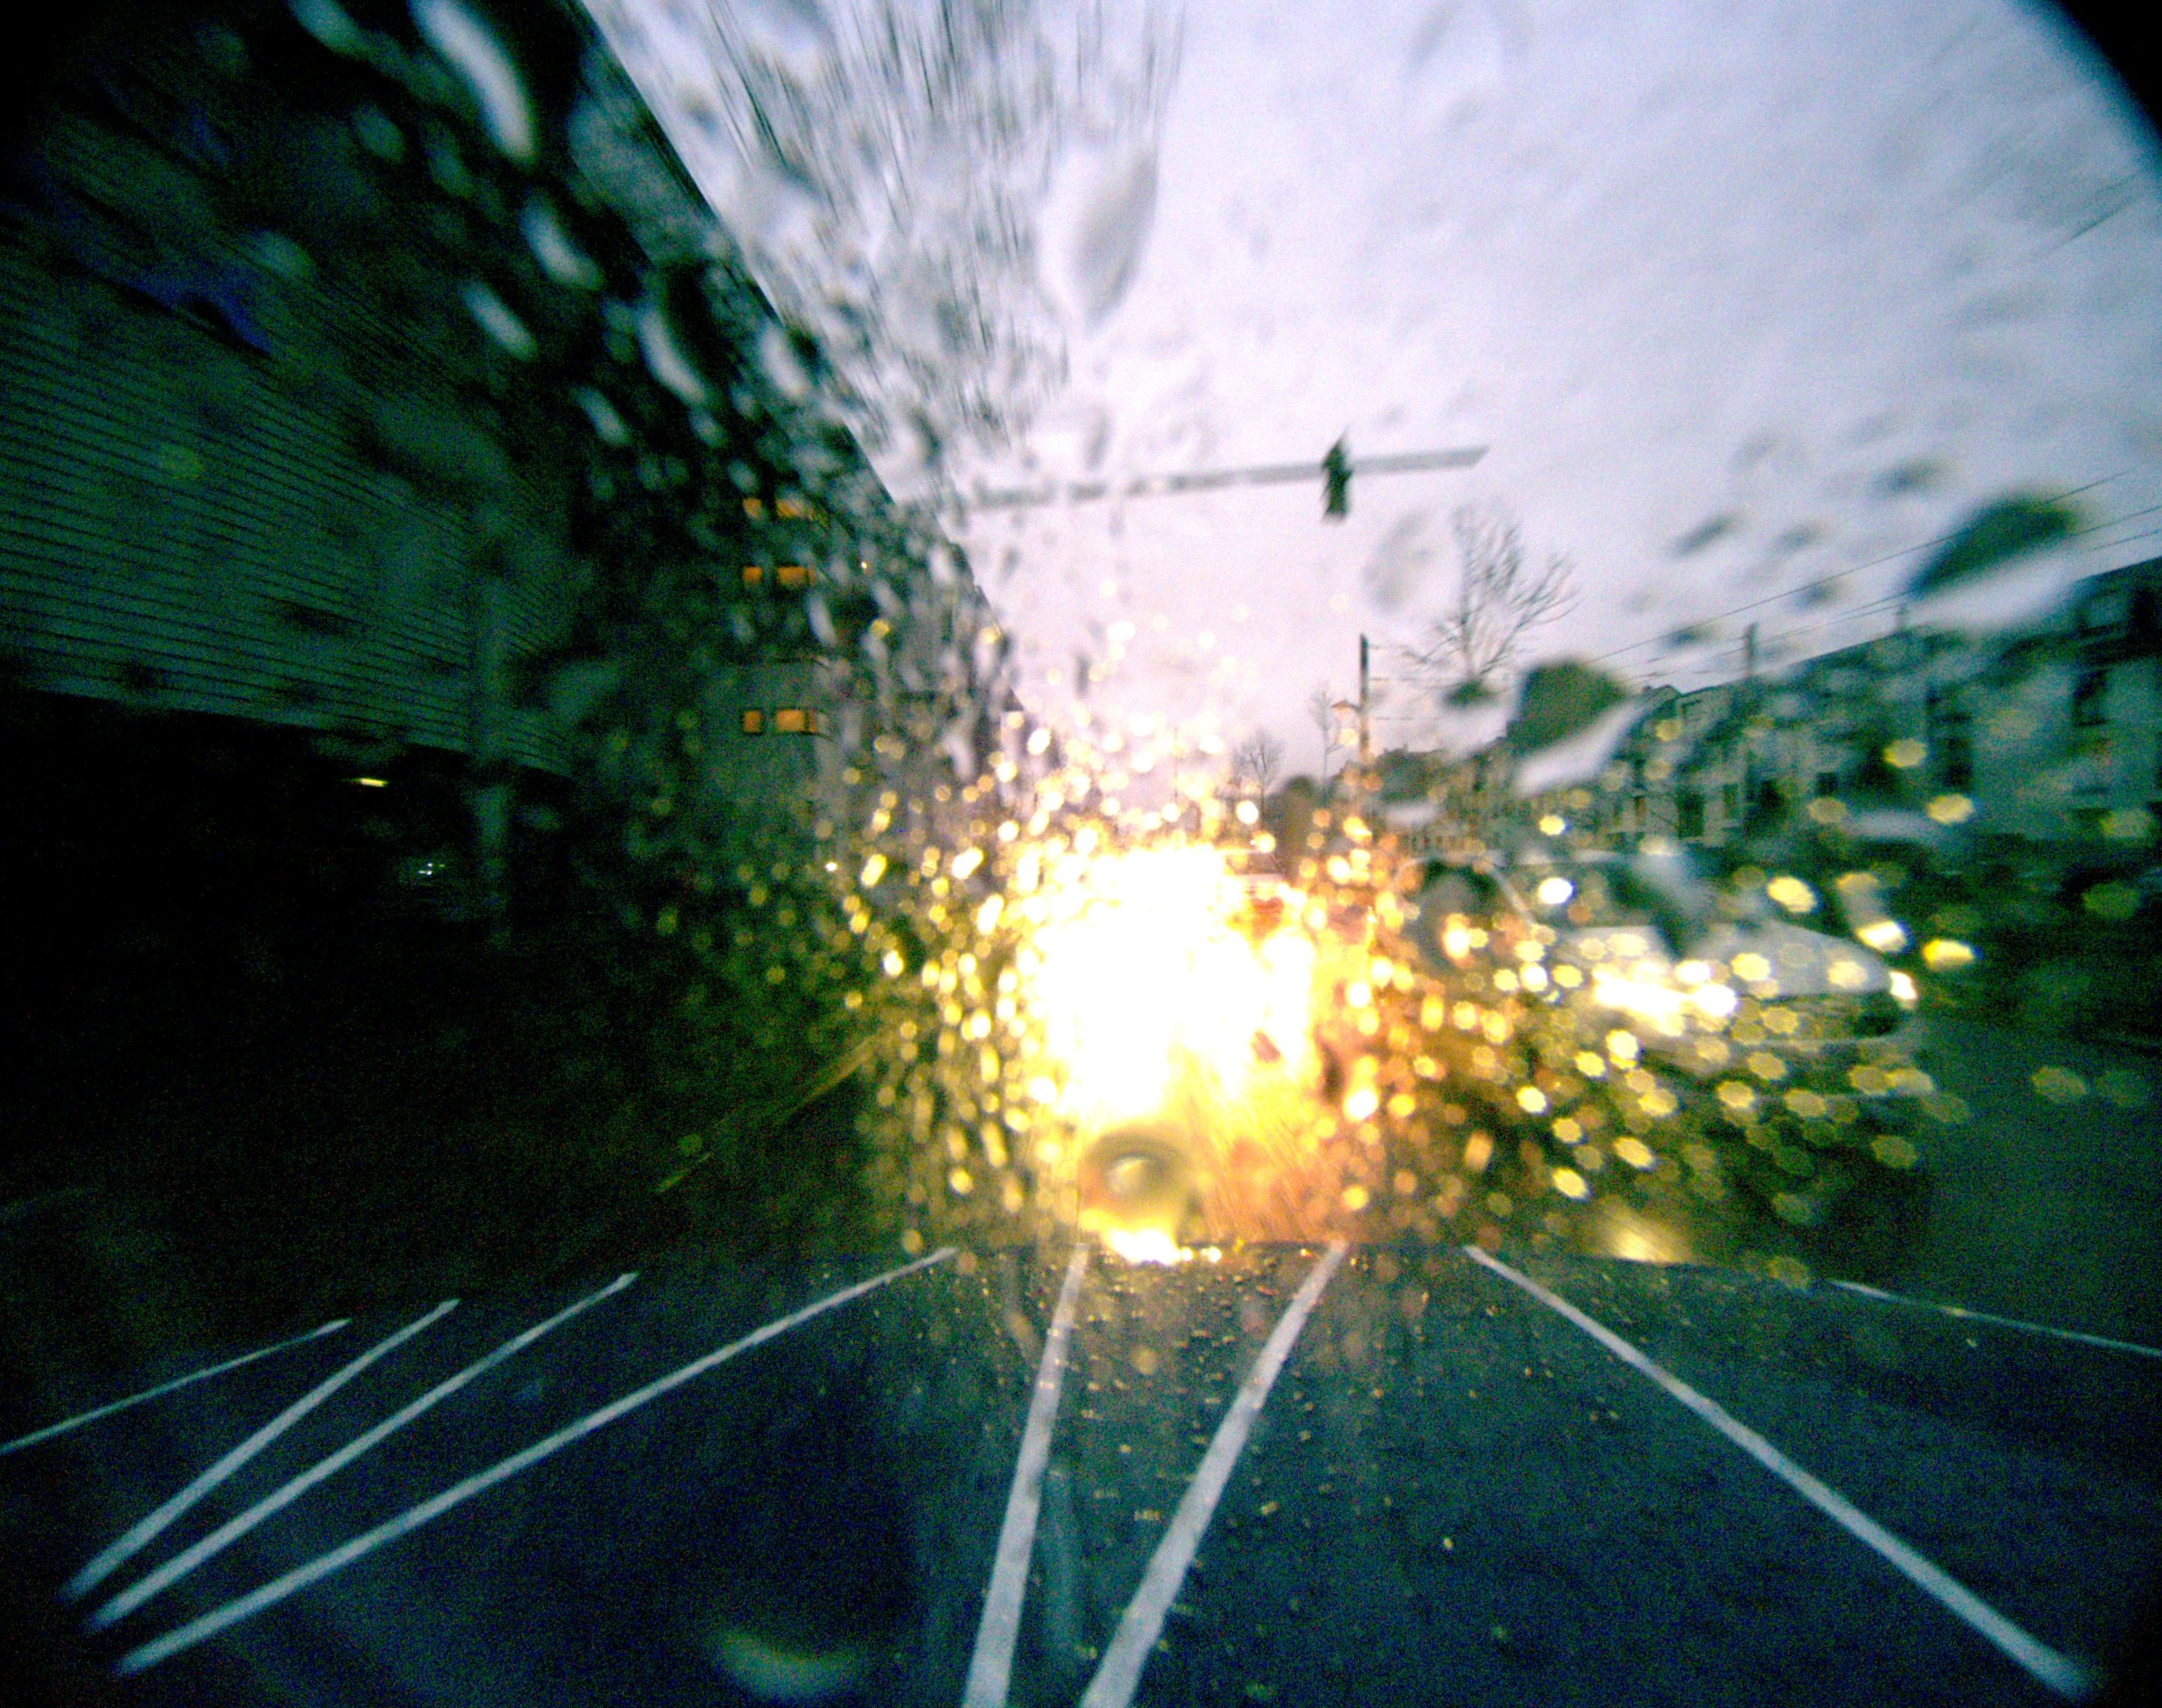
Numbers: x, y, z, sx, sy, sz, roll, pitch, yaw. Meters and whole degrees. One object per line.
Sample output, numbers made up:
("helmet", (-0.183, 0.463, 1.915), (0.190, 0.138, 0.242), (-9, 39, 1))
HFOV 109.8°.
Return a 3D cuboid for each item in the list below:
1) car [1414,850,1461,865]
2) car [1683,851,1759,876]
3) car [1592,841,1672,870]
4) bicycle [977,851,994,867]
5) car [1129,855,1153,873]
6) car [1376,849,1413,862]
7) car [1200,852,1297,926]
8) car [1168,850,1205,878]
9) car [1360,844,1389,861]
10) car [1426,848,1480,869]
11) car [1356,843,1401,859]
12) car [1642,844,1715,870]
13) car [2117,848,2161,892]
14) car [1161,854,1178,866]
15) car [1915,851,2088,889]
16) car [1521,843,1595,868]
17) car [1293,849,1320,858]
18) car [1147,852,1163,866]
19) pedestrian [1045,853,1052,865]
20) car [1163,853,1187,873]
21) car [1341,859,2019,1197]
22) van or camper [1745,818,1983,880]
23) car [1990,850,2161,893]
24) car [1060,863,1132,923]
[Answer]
("car", (34.102, 0.317, 72.625), (3.834, 1.238, 1.741), (-3, 0, 31))
("car", (32.944, 0.500, 39.146), (2.880, 1.197, 1.391), (-2, 0, 44))
("car", (33.558, 0.116, 46.423), (3.839, 1.579, 1.745), (-2, 0, 34))
("bicycle", (-8.082, 0.450, 64.381), (0.411, 1.277, 1.747), (-2, 0, 30))
("car", (5.336, 0.864, 67.572), (1.849, 1.478, 3.552), (-3, 0, 1))
("car", (35.166, 0.163, 85.220), (3.571, 1.301, 1.689), (-3, 0, 33))
("car", (3.845, 0.735, 18.038), (1.637, 1.510, 3.908), (-3, 0, 4))
("car", (6.115, 0.547, 44.502), (1.904, 1.475, 3.657), (-3, 0, 5))
("car", (29.437, -0.151, 76.325), (1.617, 1.613, 3.509), (-3, 0, 3))
("car", (28.258, 0.331, 57.934), (1.885, 1.494, 4.790), (-3, 0, 2))
("car", (35.868, -0.348, 91.517), (4.646, 1.713, 1.837), (-3, 0, 37))
("car", (33.388, 0.173, 42.492), (3.088, 1.295, 1.391), (-2, 0, 44))
("car", (31.450, 0.398, 20.702), (3.409, 1.140, 1.695), (-2, 0, 34))
("car", (9.790, 0.663, 84.087), (1.523, 1.309, 3.436), (-3, 0, 2))
("car", (32.287, 0.569, 26.809), (3.531, 1.205, 1.751), (-2, 0, 34))
("car", (33.175, 0.117, 52.890), (4.151, 1.532, 1.673), (-2, 0, 39))
("car", (37.652, -0.080, 126.812), (4.034, 1.223, 1.351), (-4, 1, 39))
("car", (9.898, 0.682, 101.490), (1.827, 1.707, 3.750), (-3, 0, 1))
("pedestrian", (-4.669, 0.693, 109.288), (0.673, 1.603, 0.615), (-2, 1, 17))
("car", (7.491, 0.712, 60.713), (1.689, 1.478, 3.437), (-3, 0, 4))
("car", (3.479, 0.820, 5.530), (1.693, 1.465, 4.000), (-3, 0, -1))
("van or camper", (33.378, -0.161, 32.822), (6.862, 2.346, 2.004), (-2, 0, 37))
("car", (31.772, 0.549, 24.002), (3.531, 1.193, 1.886), (-2, 0, 34))
("car", (0.453, 0.974, 20.311), (1.669, 1.325, 3.787), (-3, 0, 3))
